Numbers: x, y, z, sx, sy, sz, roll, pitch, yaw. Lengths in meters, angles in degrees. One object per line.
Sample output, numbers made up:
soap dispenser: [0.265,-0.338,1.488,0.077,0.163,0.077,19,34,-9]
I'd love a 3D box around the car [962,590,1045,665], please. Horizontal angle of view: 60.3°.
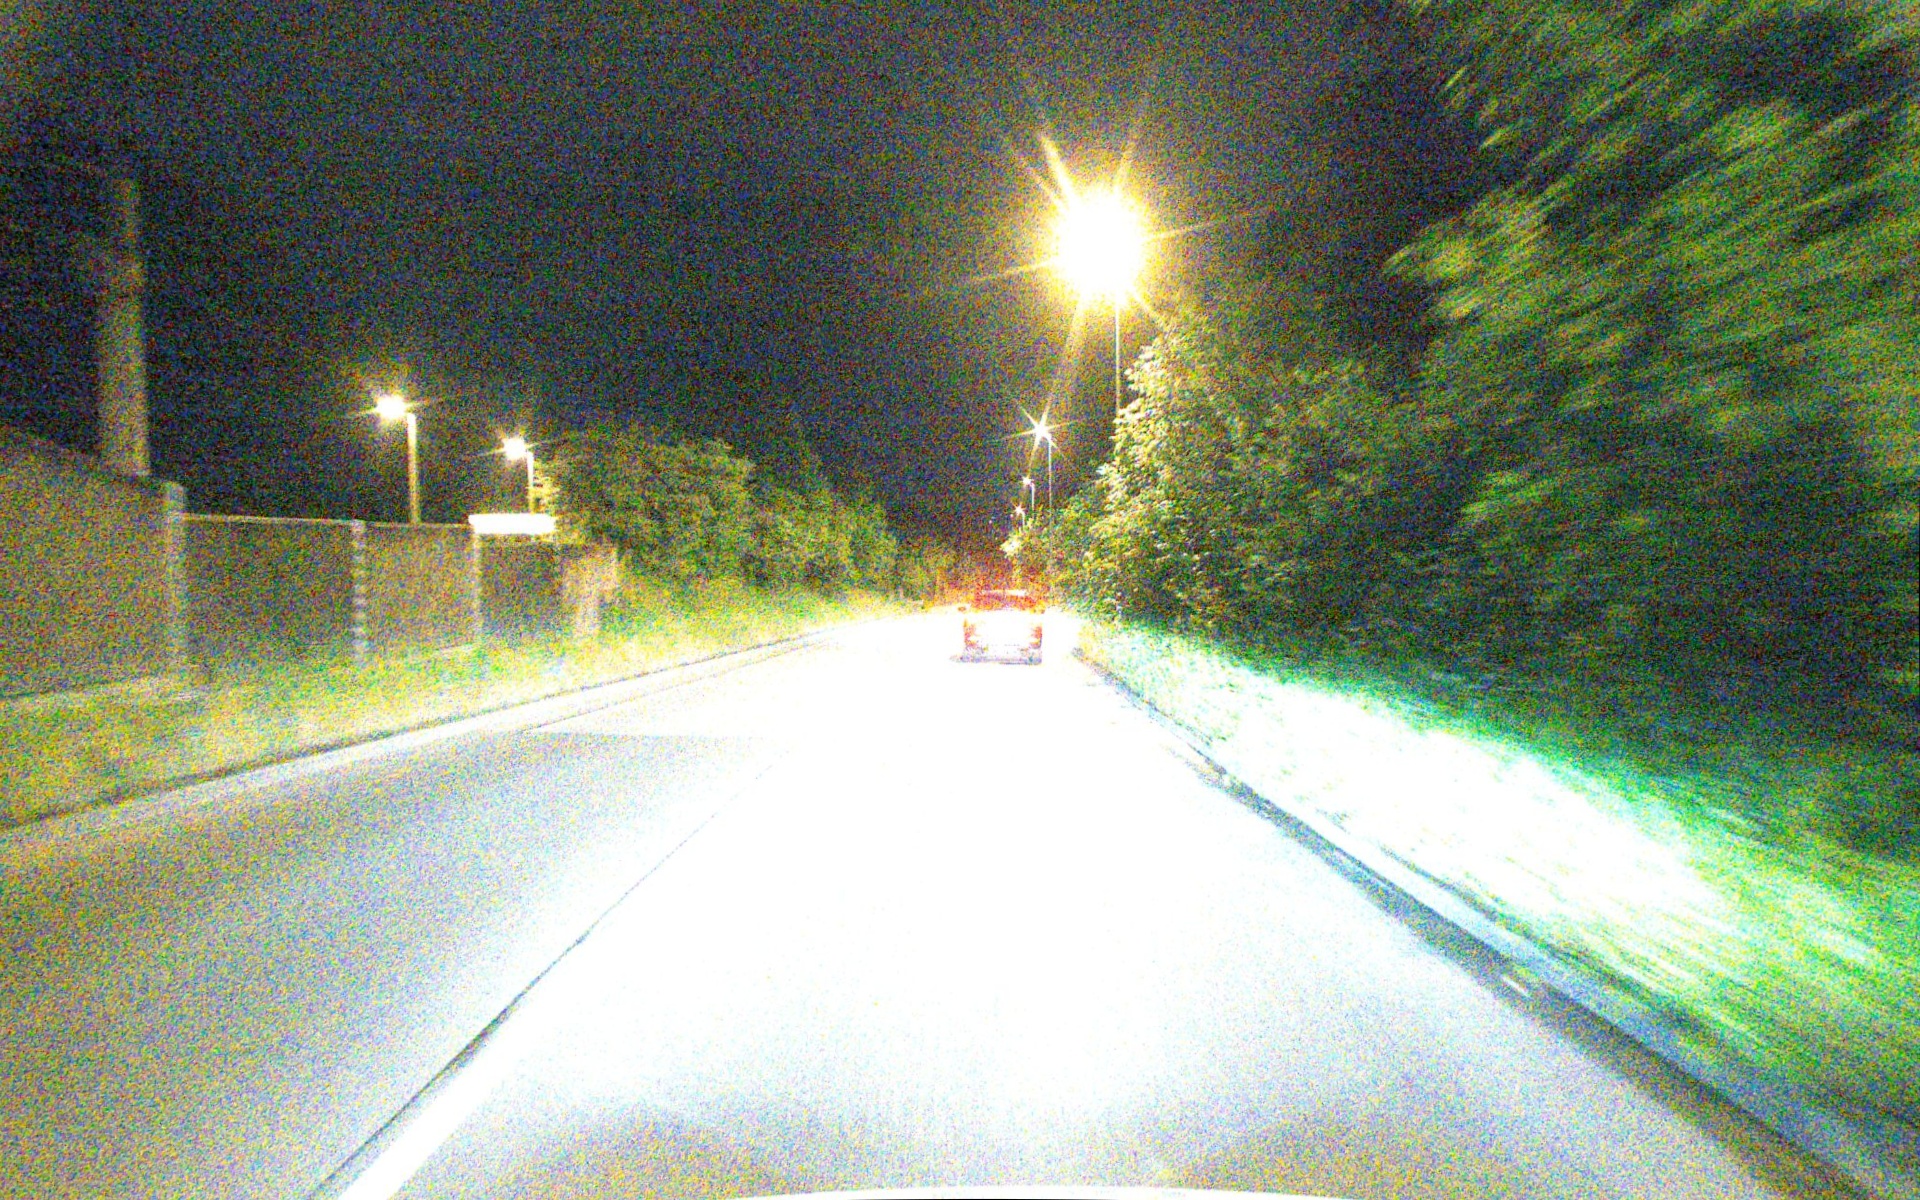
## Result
car: [0.959,0.573,37.583,1.777,1.601,3.944,0,0,0]
